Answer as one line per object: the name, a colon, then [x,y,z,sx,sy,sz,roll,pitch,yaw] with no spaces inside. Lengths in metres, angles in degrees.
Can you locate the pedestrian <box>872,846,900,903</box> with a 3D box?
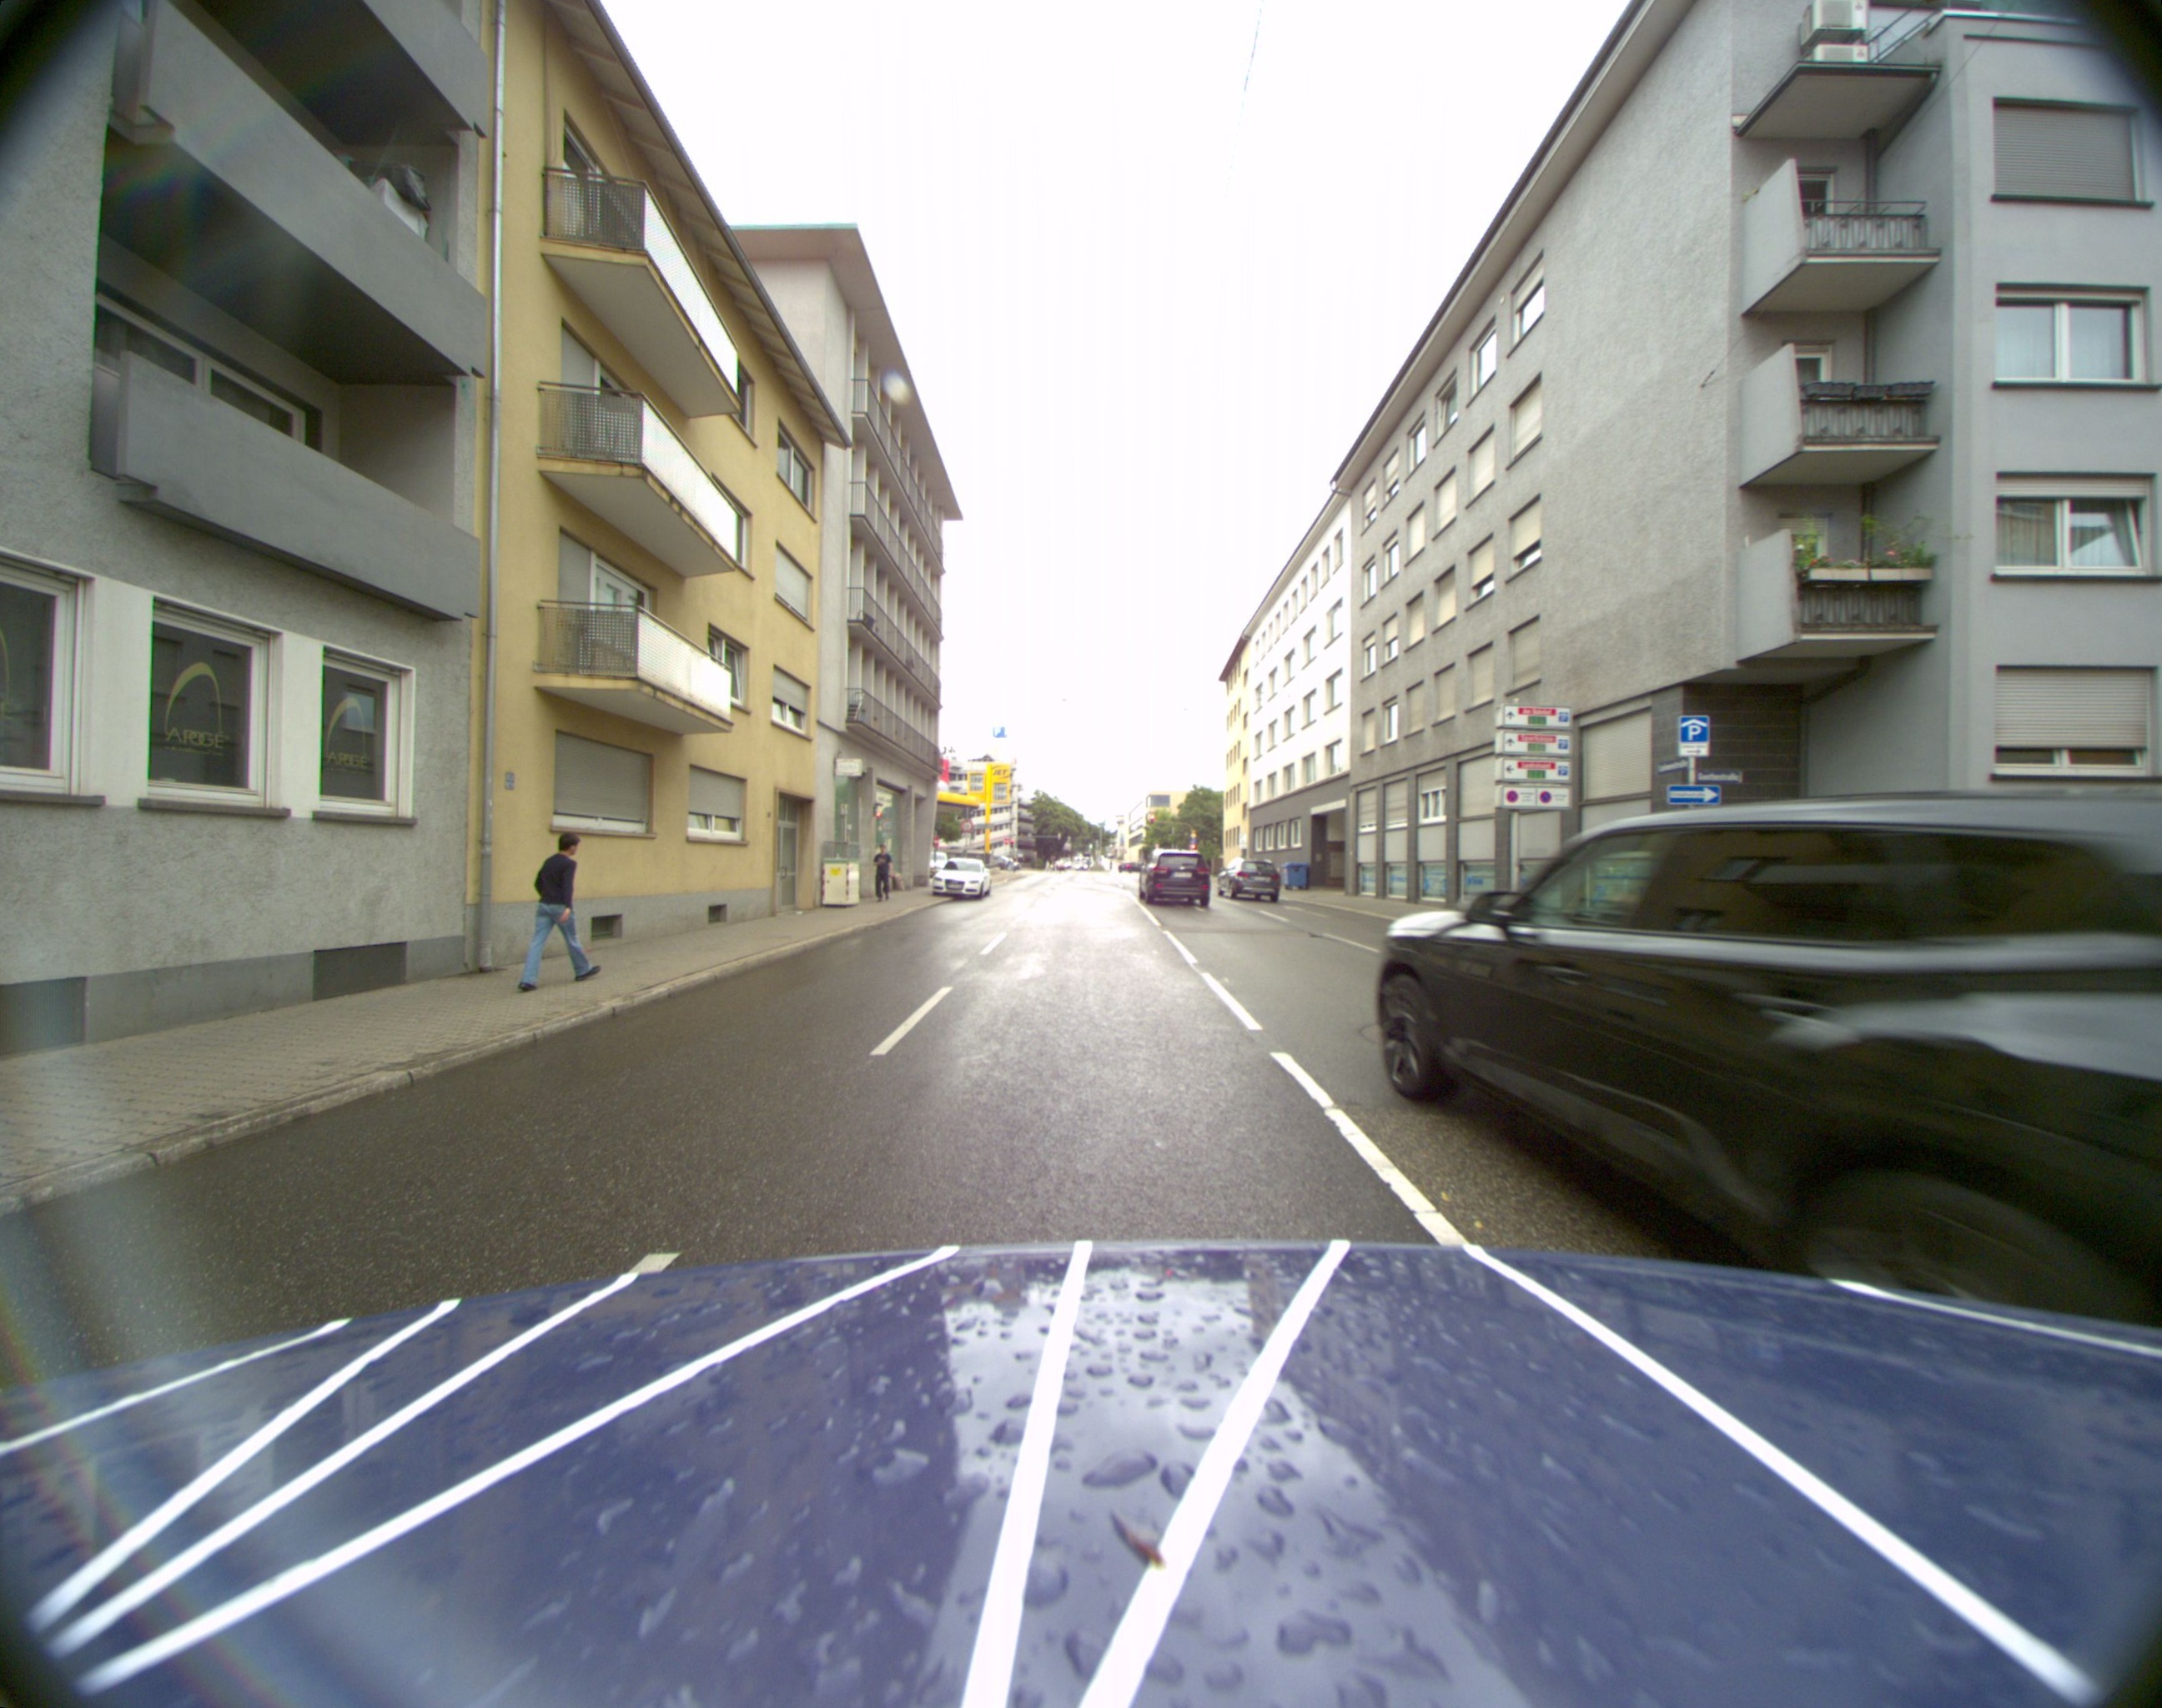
pedestrian: [-6.034,0.617,23.544,0.679,1.745,0.888,1,1,-5]

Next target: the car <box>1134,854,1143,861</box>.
car: [13.931,0.823,184.267,1.998,1.683,4.000,-2,1,2]

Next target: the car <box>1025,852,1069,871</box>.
car: [-3.357,0.712,75.737,3.994,1.751,2.001,1,1,9]

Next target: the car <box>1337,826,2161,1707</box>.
car: [2.844,0.837,2.809,2.132,1.711,4.817,2,0,0]

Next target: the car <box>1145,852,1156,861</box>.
car: [15.432,0.589,168.624,1.998,1.863,3.999,-2,1,0]

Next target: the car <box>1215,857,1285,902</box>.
car: [6.428,0.914,29.288,1.707,1.498,4.159,3,0,0]

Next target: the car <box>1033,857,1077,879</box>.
car: [-2.372,1.254,69.123,3.794,1.823,1.692,-3,1,2]

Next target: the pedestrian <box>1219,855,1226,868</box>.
pedestrian: [13.037,0.673,69.945,0.582,1.143,0.407,3,1,2]

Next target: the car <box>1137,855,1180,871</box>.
car: [7.585,0.909,74.660,3.996,1.499,1.738,1,1,2]

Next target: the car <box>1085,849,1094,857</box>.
car: [2.082,-0.258,182.546,1.998,2.002,3.999,-2,1,1]

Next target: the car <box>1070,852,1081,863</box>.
car: [-1.097,0.667,148.436,1.998,2.002,3.999,-2,1,0]

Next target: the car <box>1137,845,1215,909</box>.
car: [2.847,0.643,23.708,1.841,1.717,4.474,3,0,0]

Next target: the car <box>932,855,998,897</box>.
car: [-4.367,0.794,29.104,1.803,1.427,4.166,1,0,1]

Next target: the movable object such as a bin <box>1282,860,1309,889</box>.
movable object such as a bin: [10.376,0.988,36.803,0.946,1.325,1.096,-3,1,1]

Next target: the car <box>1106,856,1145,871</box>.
car: [4.518,0.959,77.633,3.996,1.499,1.738,1,1,2]

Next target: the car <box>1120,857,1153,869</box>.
car: [7.369,1.218,101.341,4.004,1.499,1.735,1,1,-21]

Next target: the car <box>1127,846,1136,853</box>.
car: [12.847,-1.135,192.930,1.998,1.683,4.000,-2,1,2]

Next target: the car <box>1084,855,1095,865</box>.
car: [1.696,1.166,153.531,1.999,1.736,3.998,-2,1,-2]

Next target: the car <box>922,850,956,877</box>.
car: [-8.432,0.538,44.983,1.772,1.465,3.995,-2,0,-13]

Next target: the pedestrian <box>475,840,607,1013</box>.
pedestrian: [-5.955,0.754,8.436,0.644,1.768,1.056,3,1,0]
